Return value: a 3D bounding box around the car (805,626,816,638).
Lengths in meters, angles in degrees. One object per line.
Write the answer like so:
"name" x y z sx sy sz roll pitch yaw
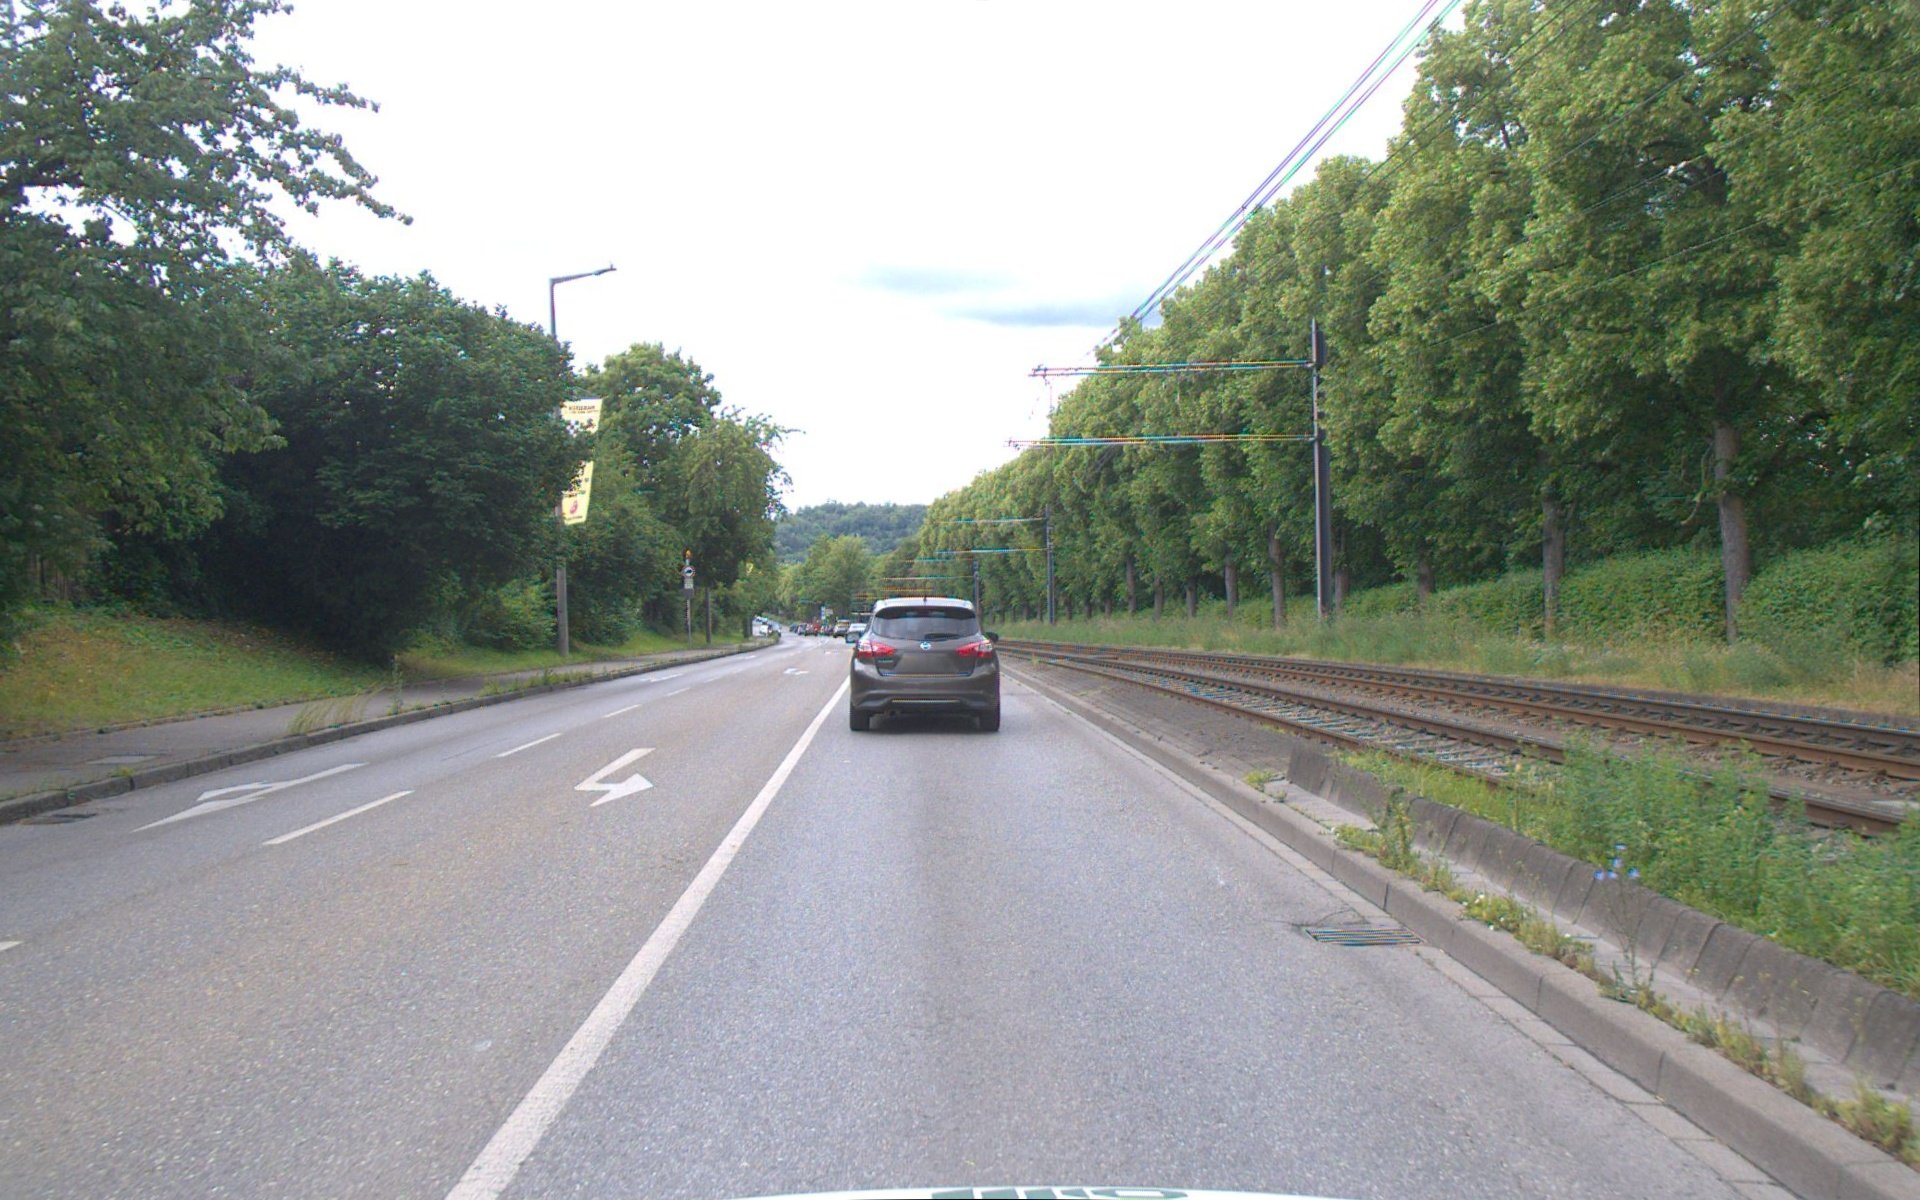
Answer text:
"car" -22.686 4.877 251.075 1.666 1.744 3.997 0 -1 -3

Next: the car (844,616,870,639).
"car" -6.820 1.818 109.541 1.666 1.469 3.997 0 -1 -3

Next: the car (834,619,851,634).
"car" -12.534 2.816 176.265 1.758 1.537 3.997 0 -1 -3

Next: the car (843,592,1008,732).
"car" -0.438 0.697 20.330 1.813 1.519 3.998 1 0 -2

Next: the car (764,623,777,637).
"car" -29.516 4.696 257.429 1.955 2.072 5.109 -1 -1 -6

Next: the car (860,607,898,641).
"car" -3.668 1.099 74.618 1.666 1.469 3.997 0 -1 -4
